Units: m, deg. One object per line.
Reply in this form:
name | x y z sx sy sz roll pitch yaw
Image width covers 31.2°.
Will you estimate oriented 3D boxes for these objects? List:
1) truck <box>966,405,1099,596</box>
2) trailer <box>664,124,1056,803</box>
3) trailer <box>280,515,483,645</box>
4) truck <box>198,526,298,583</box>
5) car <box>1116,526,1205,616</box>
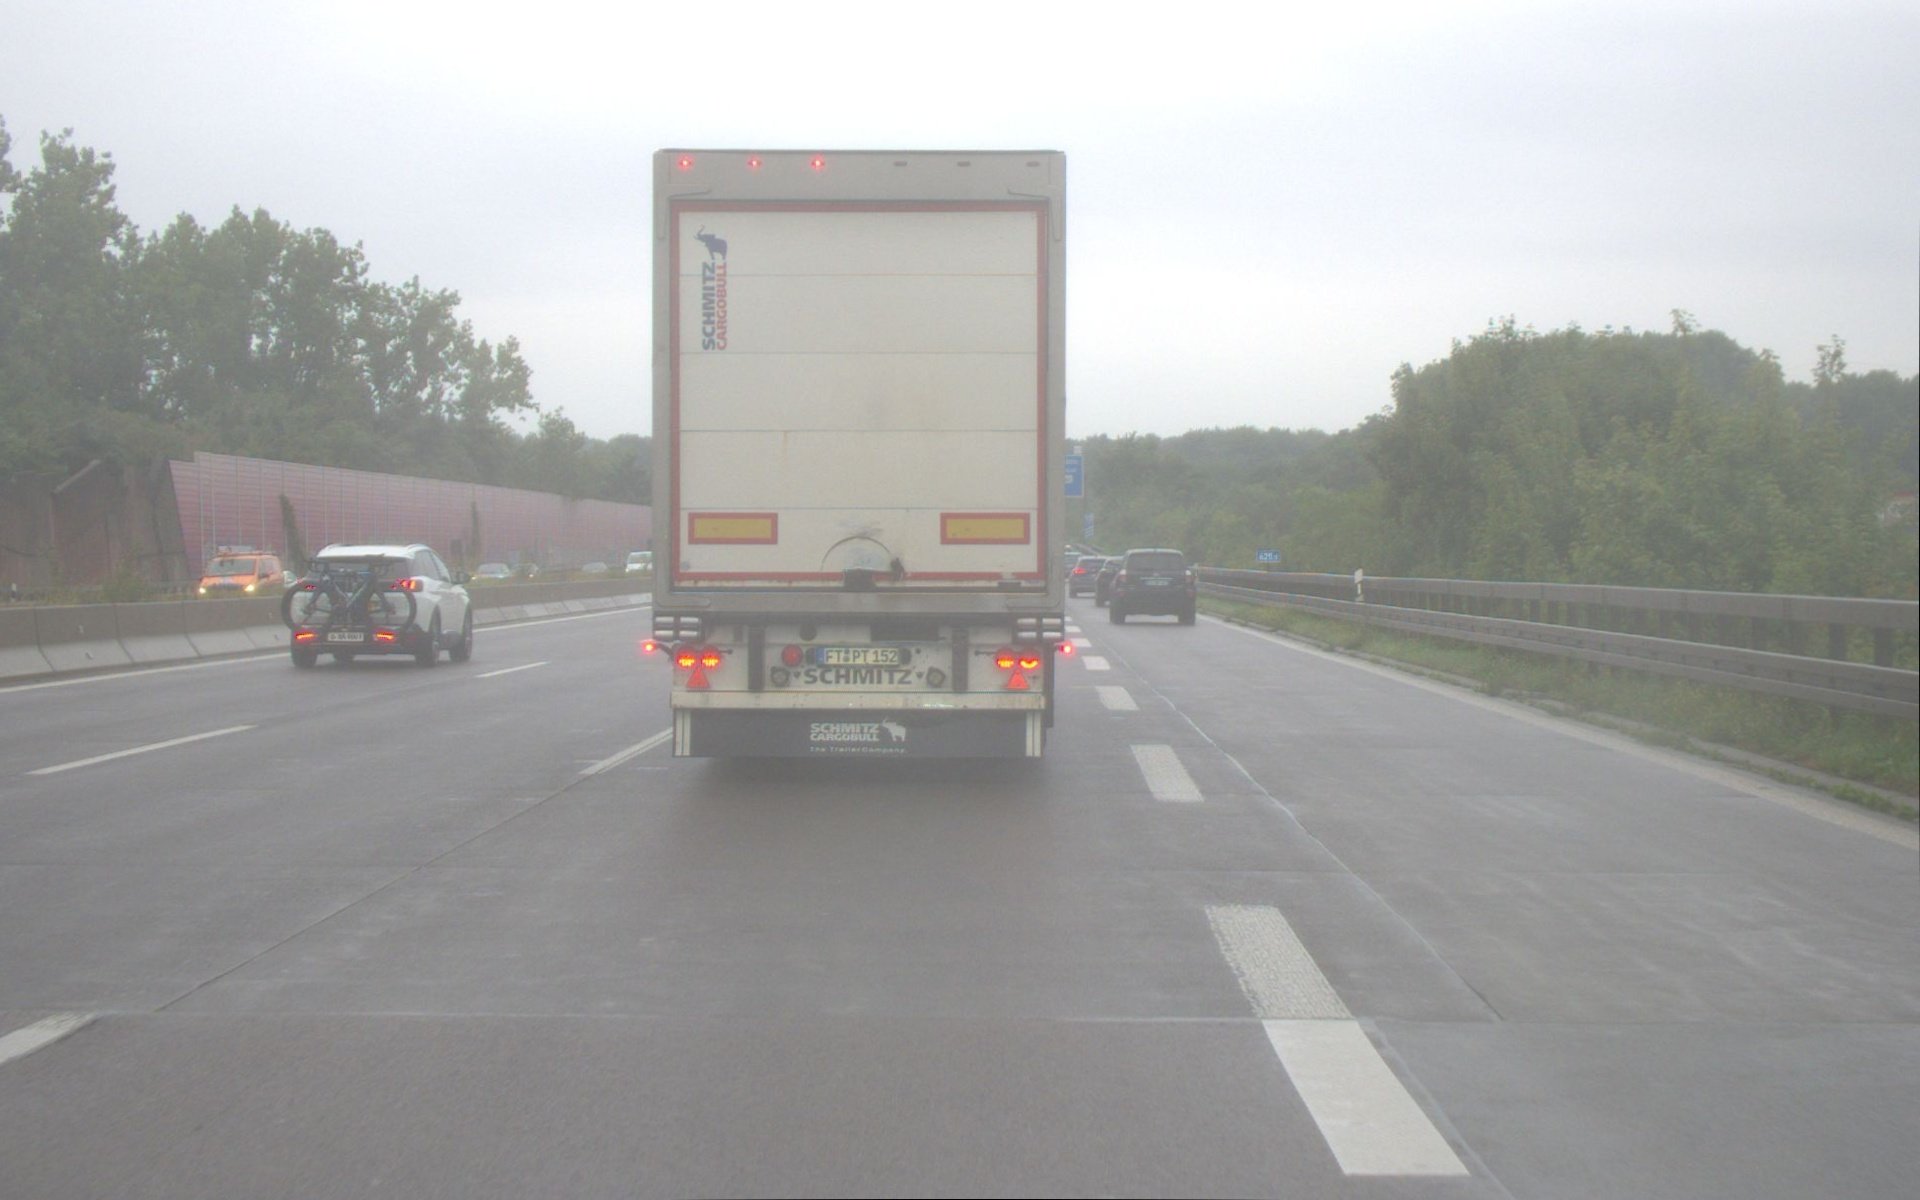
truck | 2.075 -2.811 99.129 3.534 5.165 9.893 1 1 1
trailer | -0.497 -1.086 28.617 2.342 4.143 14.828 1 2 1
trailer | -7.501 -0.302 45.009 1.815 1.619 4.568 0 1 1
truck | -22.430 -1.440 108.449 1.993 1.733 5.016 0 1 2
car | 4.491 -0.679 77.543 1.897 1.943 4.000 1 1 2
